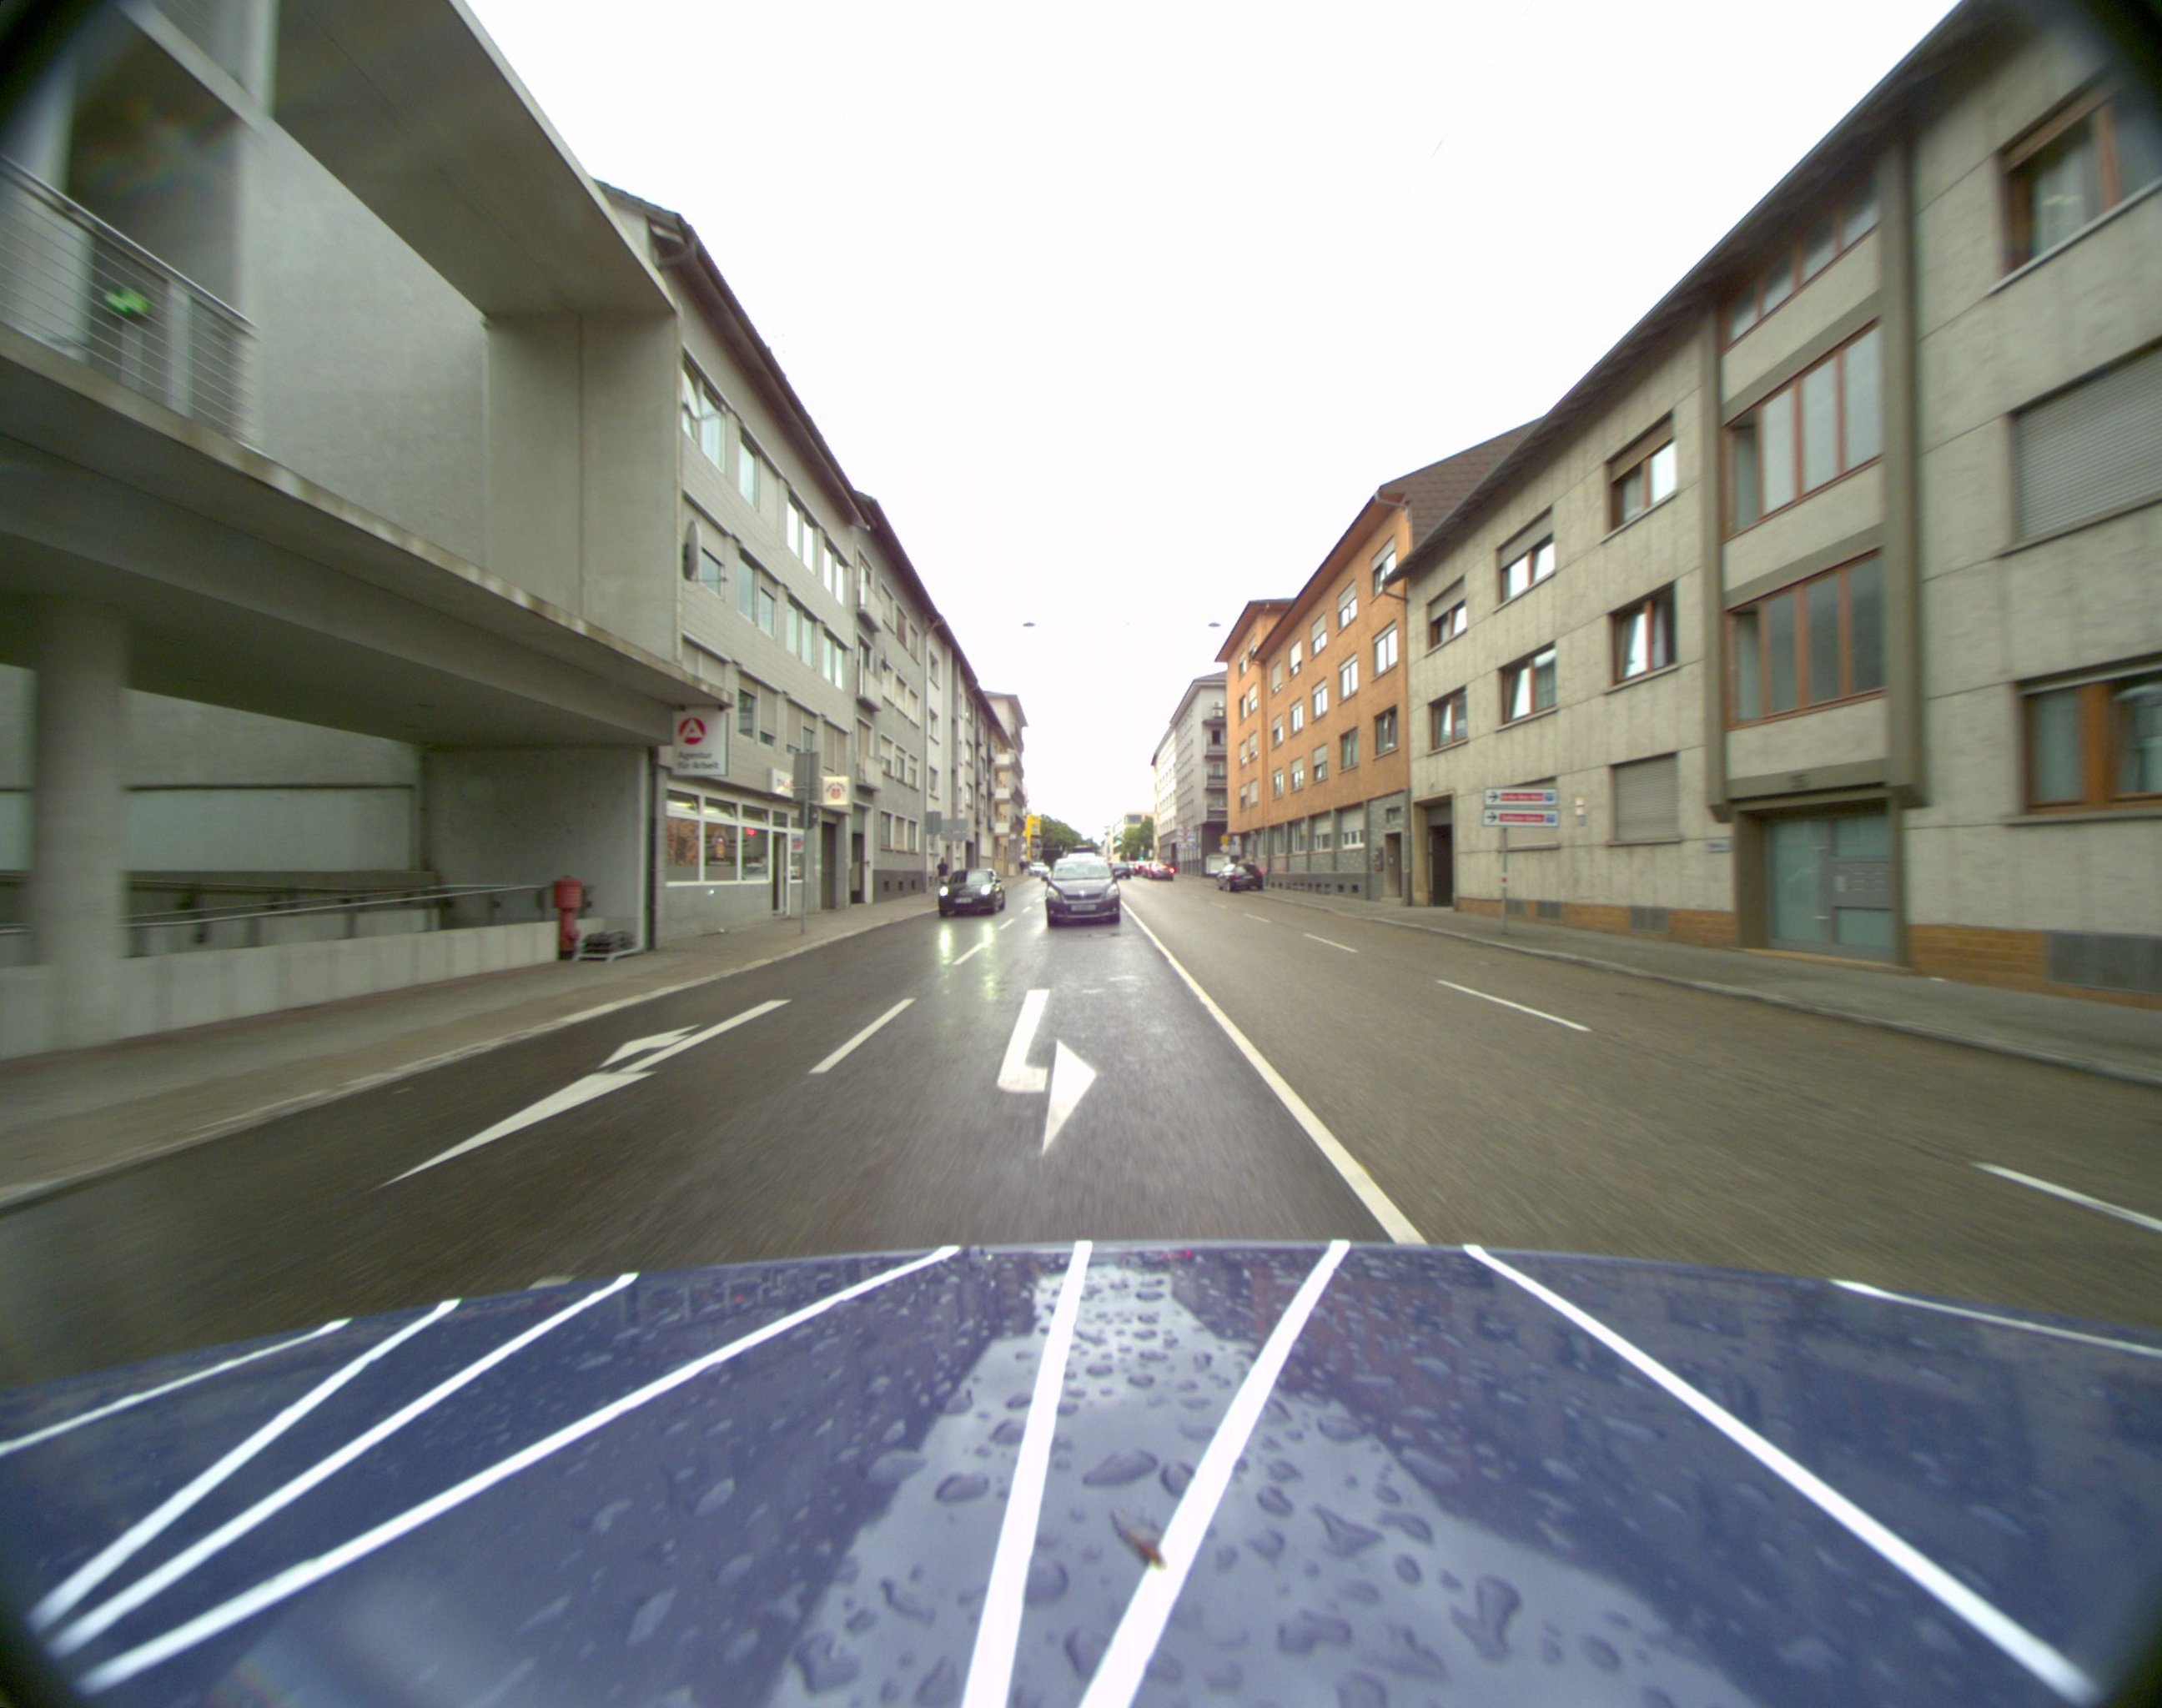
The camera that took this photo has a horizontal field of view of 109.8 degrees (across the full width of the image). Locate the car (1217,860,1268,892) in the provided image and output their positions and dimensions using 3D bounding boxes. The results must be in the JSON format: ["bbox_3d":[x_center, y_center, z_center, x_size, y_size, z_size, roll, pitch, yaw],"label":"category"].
[{"bbox_3d":[8.541,1.118,40.460,1.799,1.466,4.217,-3,1,1],"label":"car"}]

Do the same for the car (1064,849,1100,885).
[{"bbox_3d":[0.113,0.687,43.665,1.856,1.882,4.217,-3,1,1],"label":"car"}]

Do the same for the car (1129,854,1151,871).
[{"bbox_3d":[5.839,0.831,75.674,1.699,1.530,4.435,3,1,0],"label":"car"}]

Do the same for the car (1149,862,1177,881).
[{"bbox_3d":[6.624,1.414,61.525,1.699,1.362,4.365,2,1,-1],"label":"car"}]

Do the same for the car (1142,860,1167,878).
[{"bbox_3d":[6.548,1.301,67.857,1.727,1.464,4.374,1,0,0],"label":"car"}]

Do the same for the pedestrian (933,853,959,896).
[{"bbox_3d":[-6.044,0.901,34.134,0.871,1.855,1.120,3,1,1],"label":"pedestrian"}]

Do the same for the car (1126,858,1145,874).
[{"bbox_3d":[6.313,1.427,88.677,1.856,1.650,4.611,-3,1,1],"label":"car"}]

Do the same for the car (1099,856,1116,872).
[{"bbox_3d":[2.806,1.001,81.002,1.699,1.571,4.217,1,1,0],"label":"car"}]

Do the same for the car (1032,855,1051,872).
[{"bbox_3d":[-4.323,1.030,82.987,1.856,1.663,4.216,-3,1,-4],"label":"car"}]

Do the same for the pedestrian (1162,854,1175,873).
[{"bbox_3d":[10.006,1.066,86.936,1.309,2.002,1.258,-3,1,1],"label":"pedestrian"}]

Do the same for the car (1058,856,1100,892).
[{"bbox_3d":[-0.040,0.928,37.160,1.856,1.524,3.793,-3,1,1],"label":"car"}]

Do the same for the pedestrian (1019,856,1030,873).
[{"bbox_3d":[-5.899,1.052,79.124,1.119,1.741,0.961,0,0,-4],"label":"pedestrian"}]

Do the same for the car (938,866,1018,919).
[{"bbox_3d":[-3.244,1.165,24.660,1.856,1.369,4.217,-3,1,1],"label":"car"}]

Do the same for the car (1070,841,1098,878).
[{"bbox_3d":[0.300,0.391,60.709,2.033,2.731,4.368,-3,1,1],"label":"car"}]

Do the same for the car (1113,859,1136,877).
[{"bbox_3d":[3.665,1.171,64.246,1.603,1.362,4.361,2,0,-1],"label":"car"}]

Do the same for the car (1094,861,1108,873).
[{"bbox_3d":[2.498,1.580,94.180,1.699,1.362,4.217,1,1,2],"label":"car"}]

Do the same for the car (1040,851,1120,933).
[{"bbox_3d":[0.018,0.850,19.084,1.699,1.712,4.217,-3,1,1],"label":"car"}]
